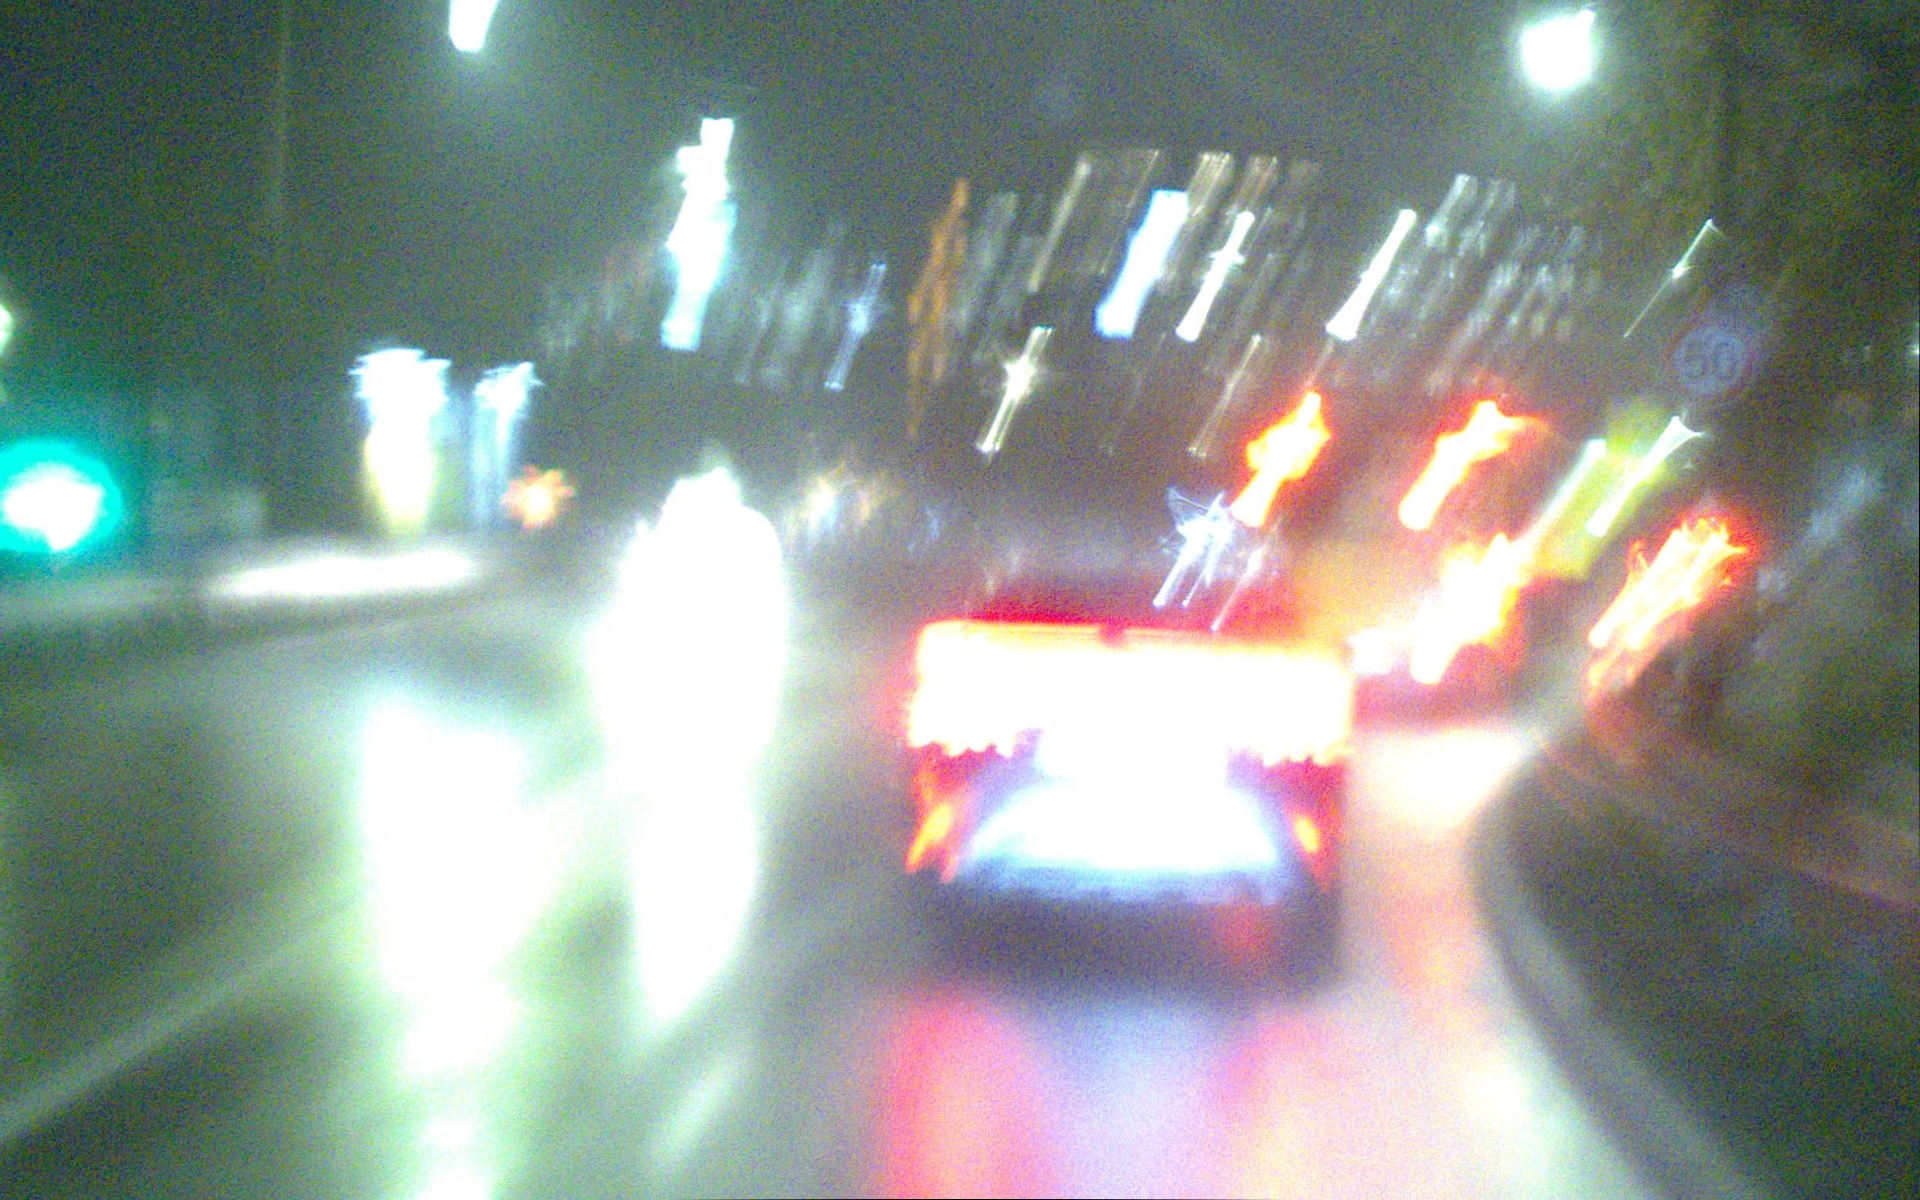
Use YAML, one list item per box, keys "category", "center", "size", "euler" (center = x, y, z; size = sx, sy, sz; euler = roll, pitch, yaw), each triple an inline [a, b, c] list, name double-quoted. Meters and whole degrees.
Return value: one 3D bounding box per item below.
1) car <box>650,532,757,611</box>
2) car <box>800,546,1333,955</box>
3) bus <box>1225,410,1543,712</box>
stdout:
- category: "car"
  center: [-5.134, -0.584, 69.273]
  size: [1.826, 1.498, 4.188]
  euler: [2, 1, 0]
- category: "car"
  center: [0.545, 0.527, 14.853]
  size: [1.994, 1.519, 4.000]
  euler: [0, 1, 4]
- category: "bus"
  center: [5.307, -0.415, 41.469]
  size: [3.045, 3.201, 9.045]
  euler: [-1, 0, 12]
